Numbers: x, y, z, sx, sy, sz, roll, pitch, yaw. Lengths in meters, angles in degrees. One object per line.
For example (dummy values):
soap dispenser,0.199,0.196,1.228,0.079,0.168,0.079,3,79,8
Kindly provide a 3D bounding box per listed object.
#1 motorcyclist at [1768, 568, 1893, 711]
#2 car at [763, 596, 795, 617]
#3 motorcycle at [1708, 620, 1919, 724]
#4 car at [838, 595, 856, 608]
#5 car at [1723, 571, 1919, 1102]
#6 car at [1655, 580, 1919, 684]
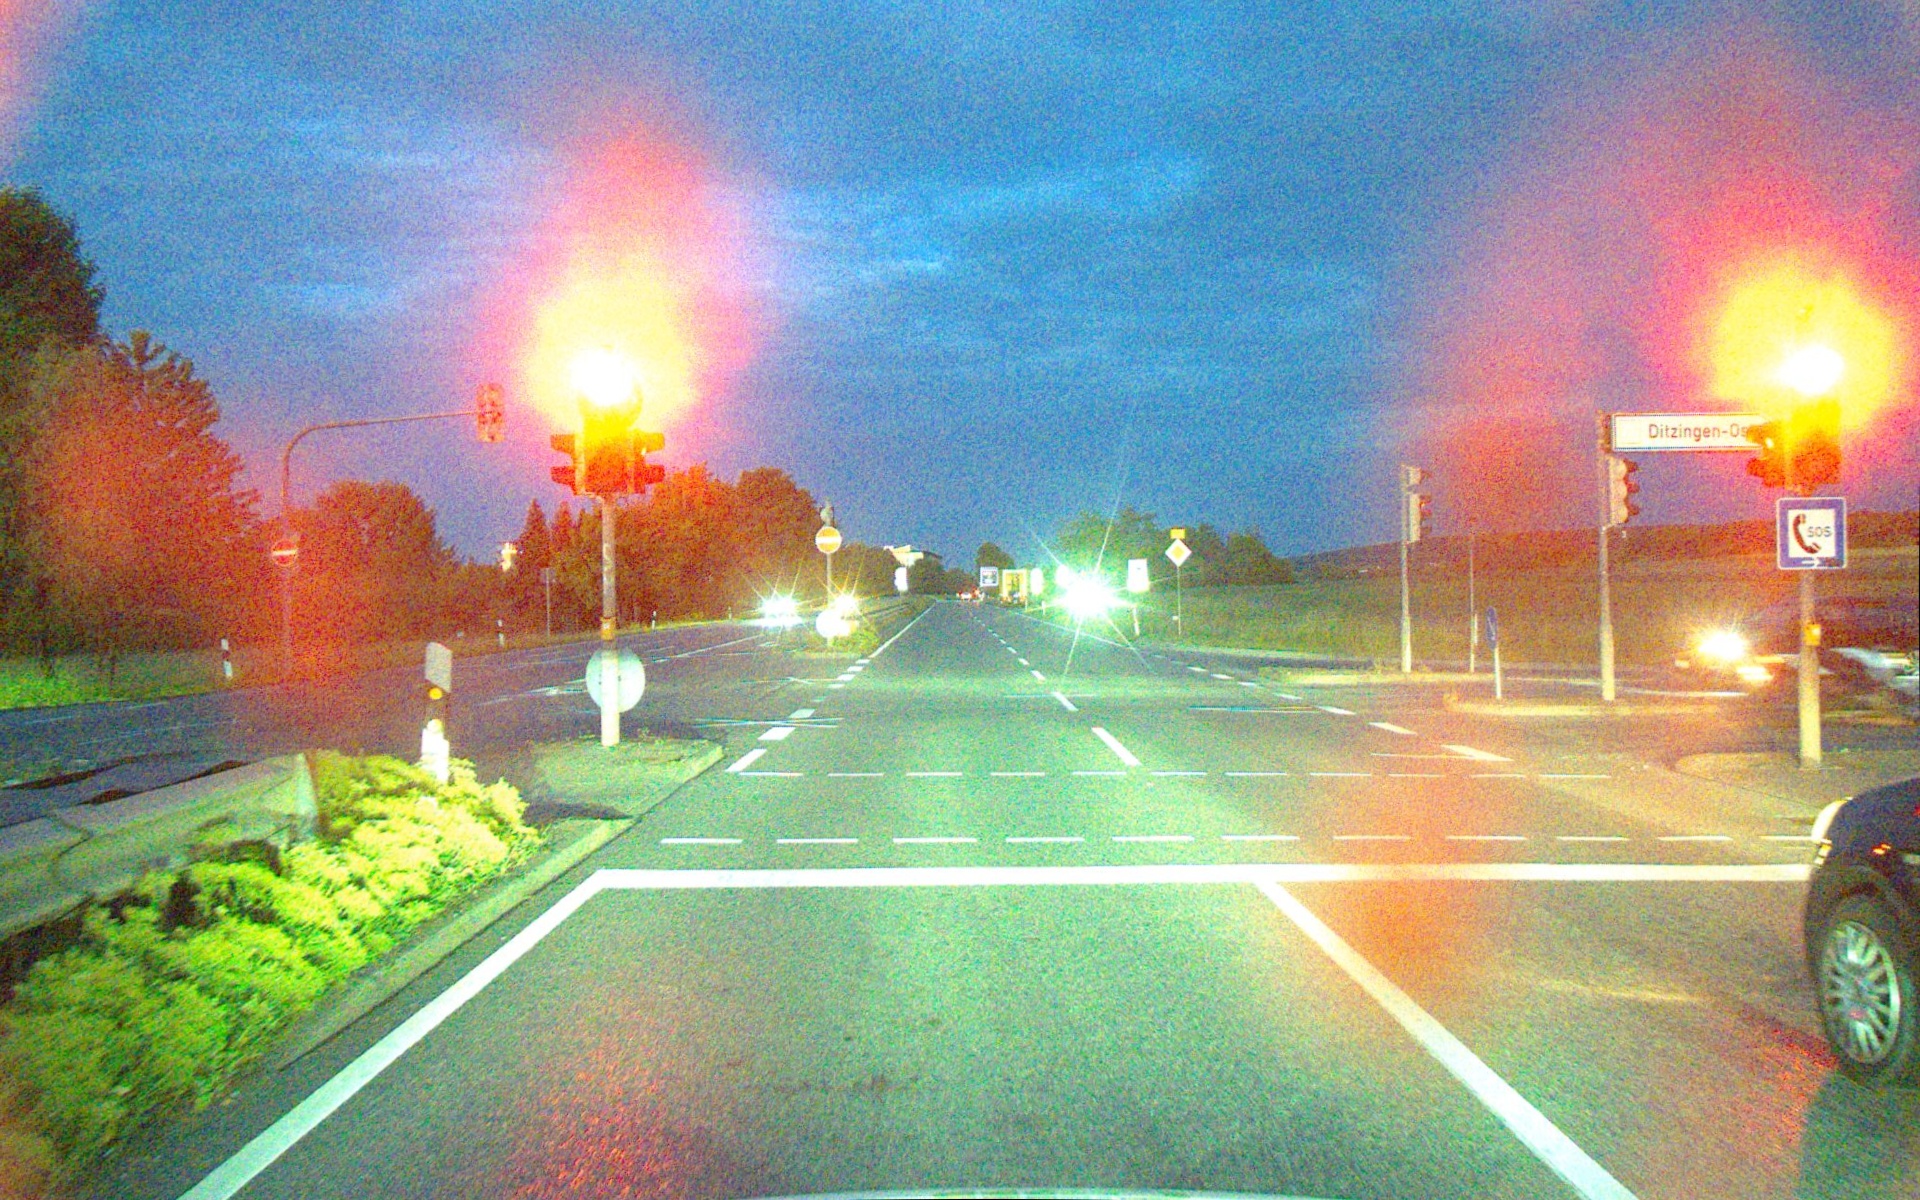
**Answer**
motorcyclist,10.242,0.449,19.501,0.949,1.612,1.142,-1,0,8
car,-13.427,0.473,123.164,1.953,1.545,4.297,-1,0,-1
motorcycle,10.195,0.833,19.348,2.447,1.118,0.983,-1,0,9
car,-13.689,0.178,201.304,1.953,1.411,3.999,-1,0,-1
car,3.607,0.695,4.039,1.636,1.547,4.106,0,0,1
car,14.300,0.508,27.648,4.507,1.547,2.000,-2,0,0
